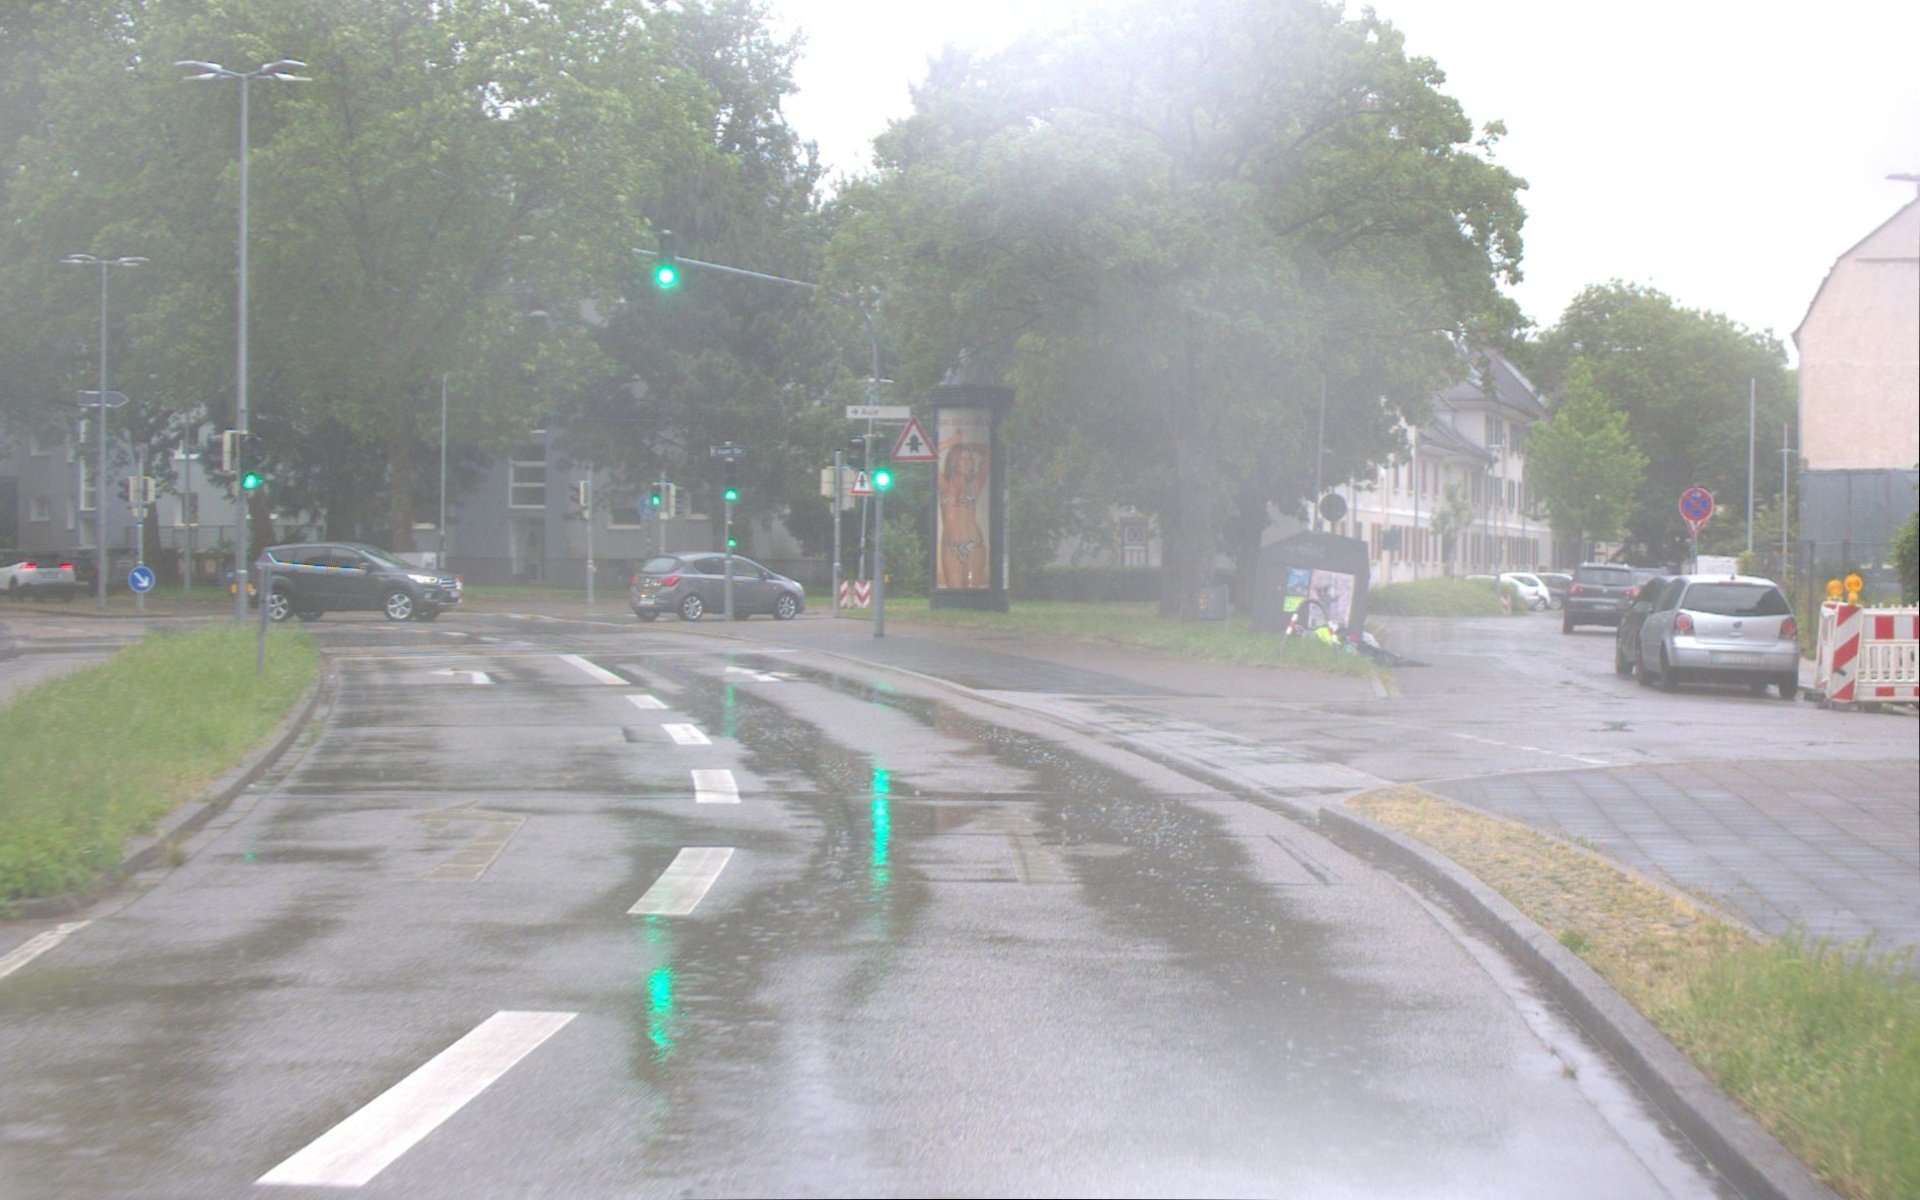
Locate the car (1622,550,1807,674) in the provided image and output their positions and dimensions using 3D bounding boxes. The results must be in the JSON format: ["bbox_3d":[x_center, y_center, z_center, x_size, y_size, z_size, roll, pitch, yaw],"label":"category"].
[{"bbox_3d":[9.369,0.132,42.944,1.634,1.428,4.176,1,0,4],"label":"car"}]

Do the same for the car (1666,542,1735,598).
[{"bbox_3d":[30.615,-1.233,142.074,2.352,2.201,4.608,1,0,17],"label":"car"}]

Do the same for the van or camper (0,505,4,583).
[{"bbox_3d":[-37.211,-2.041,125.000,2.319,2.798,6.862,1,0,-37],"label":"van or camper"}]

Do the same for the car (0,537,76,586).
[{"bbox_3d":[-28.096,-1.169,103.026,1.706,1.406,3.643,-2,3,-39],"label":"car"}]

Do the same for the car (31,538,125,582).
[{"bbox_3d":[-29.134,-1.325,113.485,1.549,1.385,4.149,1,0,-36],"label":"car"}]

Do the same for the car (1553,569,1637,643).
[{"bbox_3d":[14.930,0.131,80.862,1.855,1.649,4.303,1,0,11],"label":"car"}]

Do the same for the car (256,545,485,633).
[{"bbox_3d":[-12.375,-0.230,72.319,4.292,1.738,1.999,1,0,10],"label":"car"}]

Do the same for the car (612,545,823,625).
[{"bbox_3d":[-5.145,-0.309,73.154,4.076,1.597,1.999,1,0,-41],"label":"car"}]
